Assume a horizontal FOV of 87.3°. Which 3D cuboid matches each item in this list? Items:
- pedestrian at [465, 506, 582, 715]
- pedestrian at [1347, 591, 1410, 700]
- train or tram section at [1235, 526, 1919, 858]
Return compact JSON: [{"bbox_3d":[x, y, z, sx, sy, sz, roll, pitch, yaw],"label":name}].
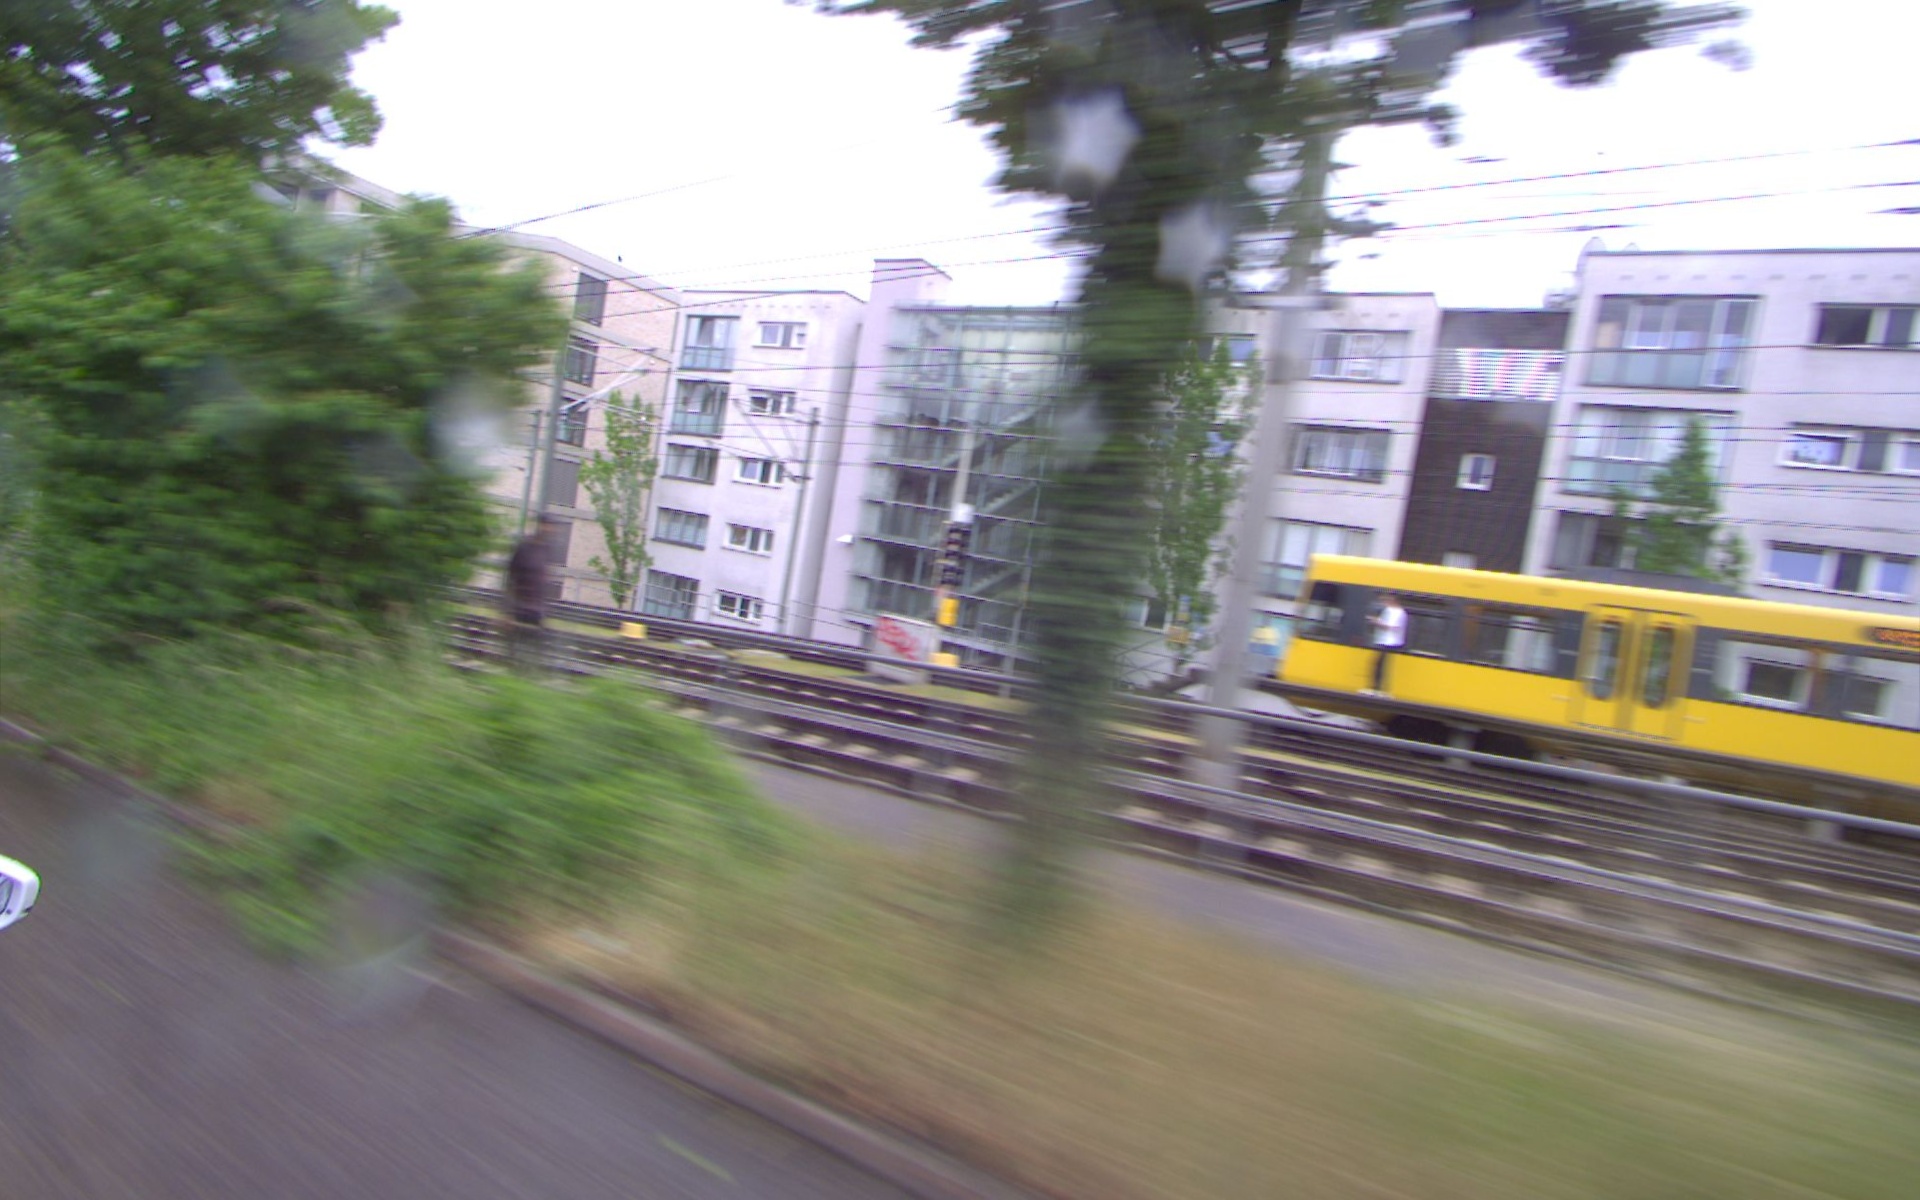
[{"bbox_3d":[-3.752,0.099,8.661,0.516,1.708,0.563,7,1,31],"label":"pedestrian"},{"bbox_3d":[7.666,0.833,18.422,0.804,1.903,0.722,5,0,32],"label":"pedestrian"},{"bbox_3d":[14.421,1.826,16.678,18.499,3.996,3.335,9,1,32],"label":"train or tram section"}]
